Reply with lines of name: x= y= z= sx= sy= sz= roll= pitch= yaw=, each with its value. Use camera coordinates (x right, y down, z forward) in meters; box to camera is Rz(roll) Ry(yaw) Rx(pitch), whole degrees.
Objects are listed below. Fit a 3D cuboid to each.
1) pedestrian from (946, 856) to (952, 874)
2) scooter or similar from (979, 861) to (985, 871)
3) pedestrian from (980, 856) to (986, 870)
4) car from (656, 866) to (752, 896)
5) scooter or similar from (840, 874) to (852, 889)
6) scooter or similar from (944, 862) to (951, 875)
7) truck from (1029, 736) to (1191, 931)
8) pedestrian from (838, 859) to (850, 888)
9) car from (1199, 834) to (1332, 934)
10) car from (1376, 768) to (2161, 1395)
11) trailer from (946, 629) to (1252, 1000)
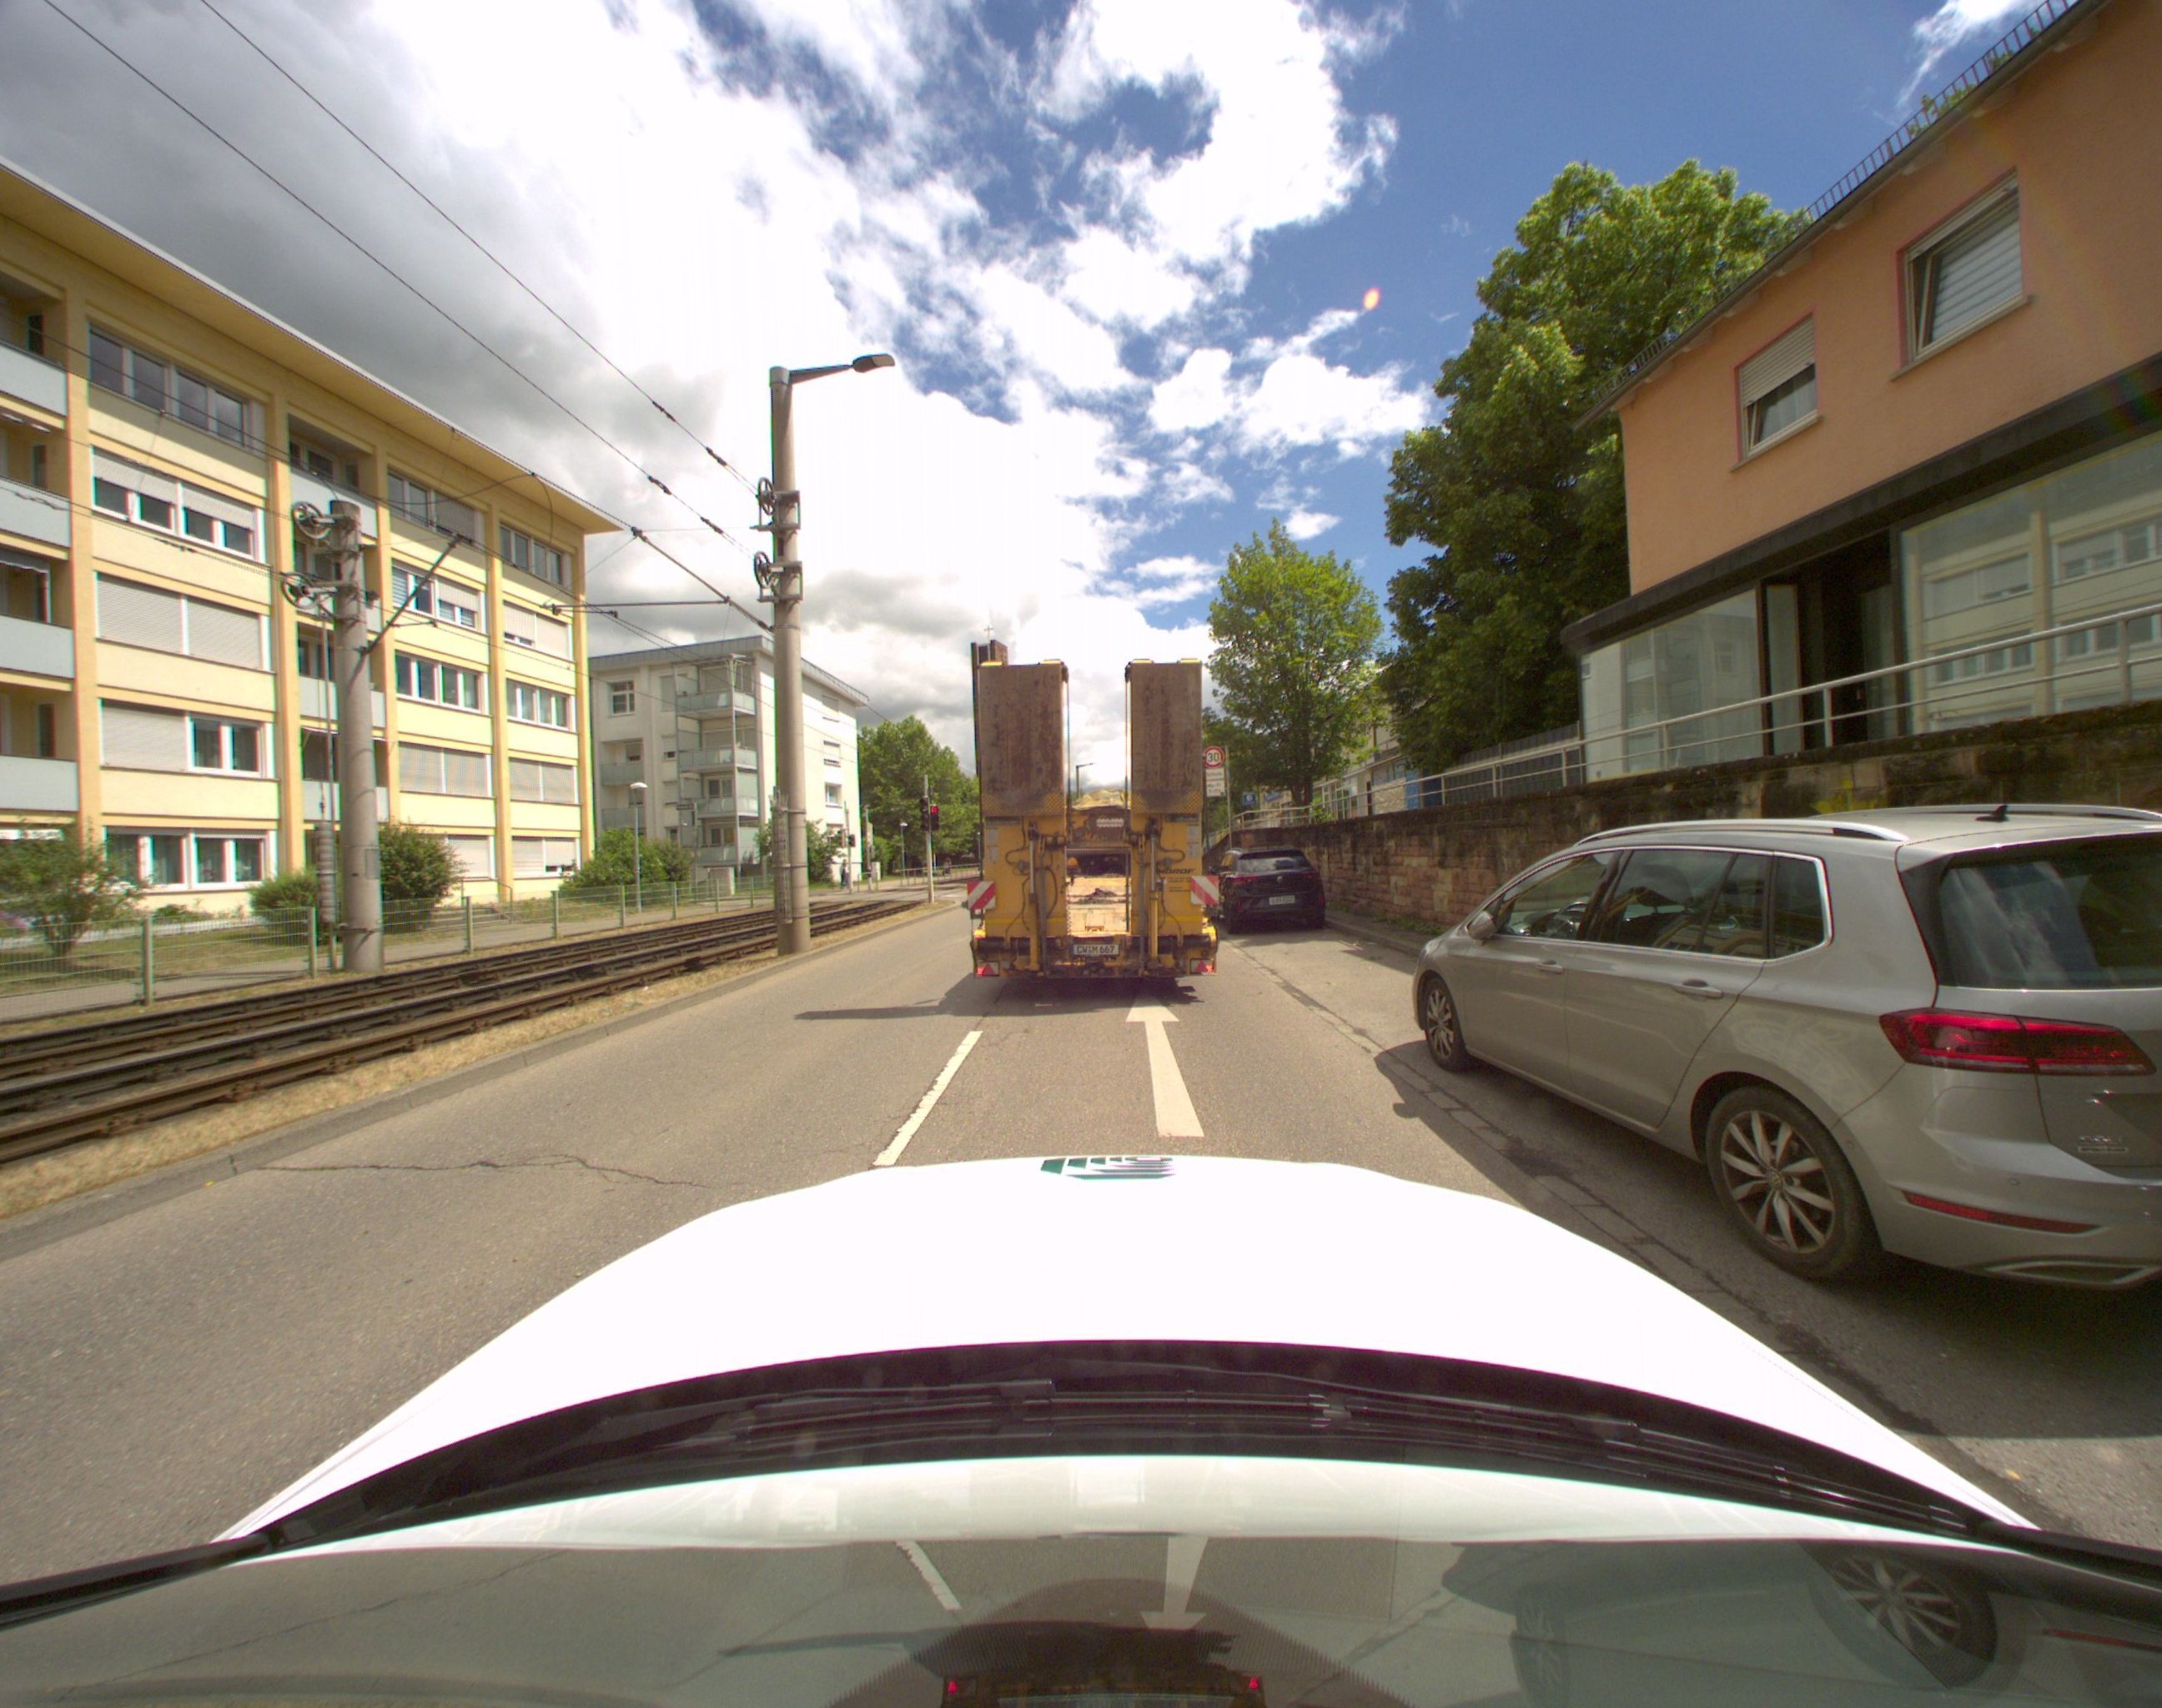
pedestrian: x=-11.343 y=0.976 z=70.115 sx=0.346 sy=1.537 sz=0.558 roll=-2 pitch=0 yaw=5
scooter or similar: x=-10.498 y=1.258 z=86.126 sx=0.504 sy=0.971 sz=0.646 roll=0 pitch=0 yaw=1
pedestrian: x=-10.458 y=0.990 z=86.777 sx=0.562 sy=1.513 sz=0.646 roll=0 pitch=0 yaw=1
car: x=-19.198 y=1.373 z=41.537 sx=3.963 sy=1.345 sz=1.906 roll=-2 pitch=0 yaw=9
scooter or similar: x=-12.648 y=1.488 z=43.872 sx=0.435 sy=0.747 sz=0.475 roll=-2 pitch=0 yaw=7
scooter or similar: x=-11.385 y=1.207 z=69.456 sx=0.336 sy=1.057 sz=0.688 roll=-2 pitch=0 yaw=5
truck: x=0.647 y=-0.391 z=17.841 sx=2.931 sy=3.572 sz=4.879 roll=-2 pitch=0 yaw=2
pedestrian: x=-12.902 y=1.062 z=44.378 sx=0.435 sy=1.581 sz=0.475 roll=-2 pitch=0 yaw=6
car: x=3.522 y=0.528 z=16.256 sx=1.843 sy=1.639 sz=4.003 roll=-3 pitch=0 yaw=3
car: x=3.214 y=0.564 z=4.272 sx=1.783 sy=1.617 sz=4.249 roll=-3 pitch=0 yaw=1
trailer: x=0.385 y=-0.393 z=12.461 sx=2.933 sy=3.601 sz=8.690 roll=-2 pitch=0 yaw=3
